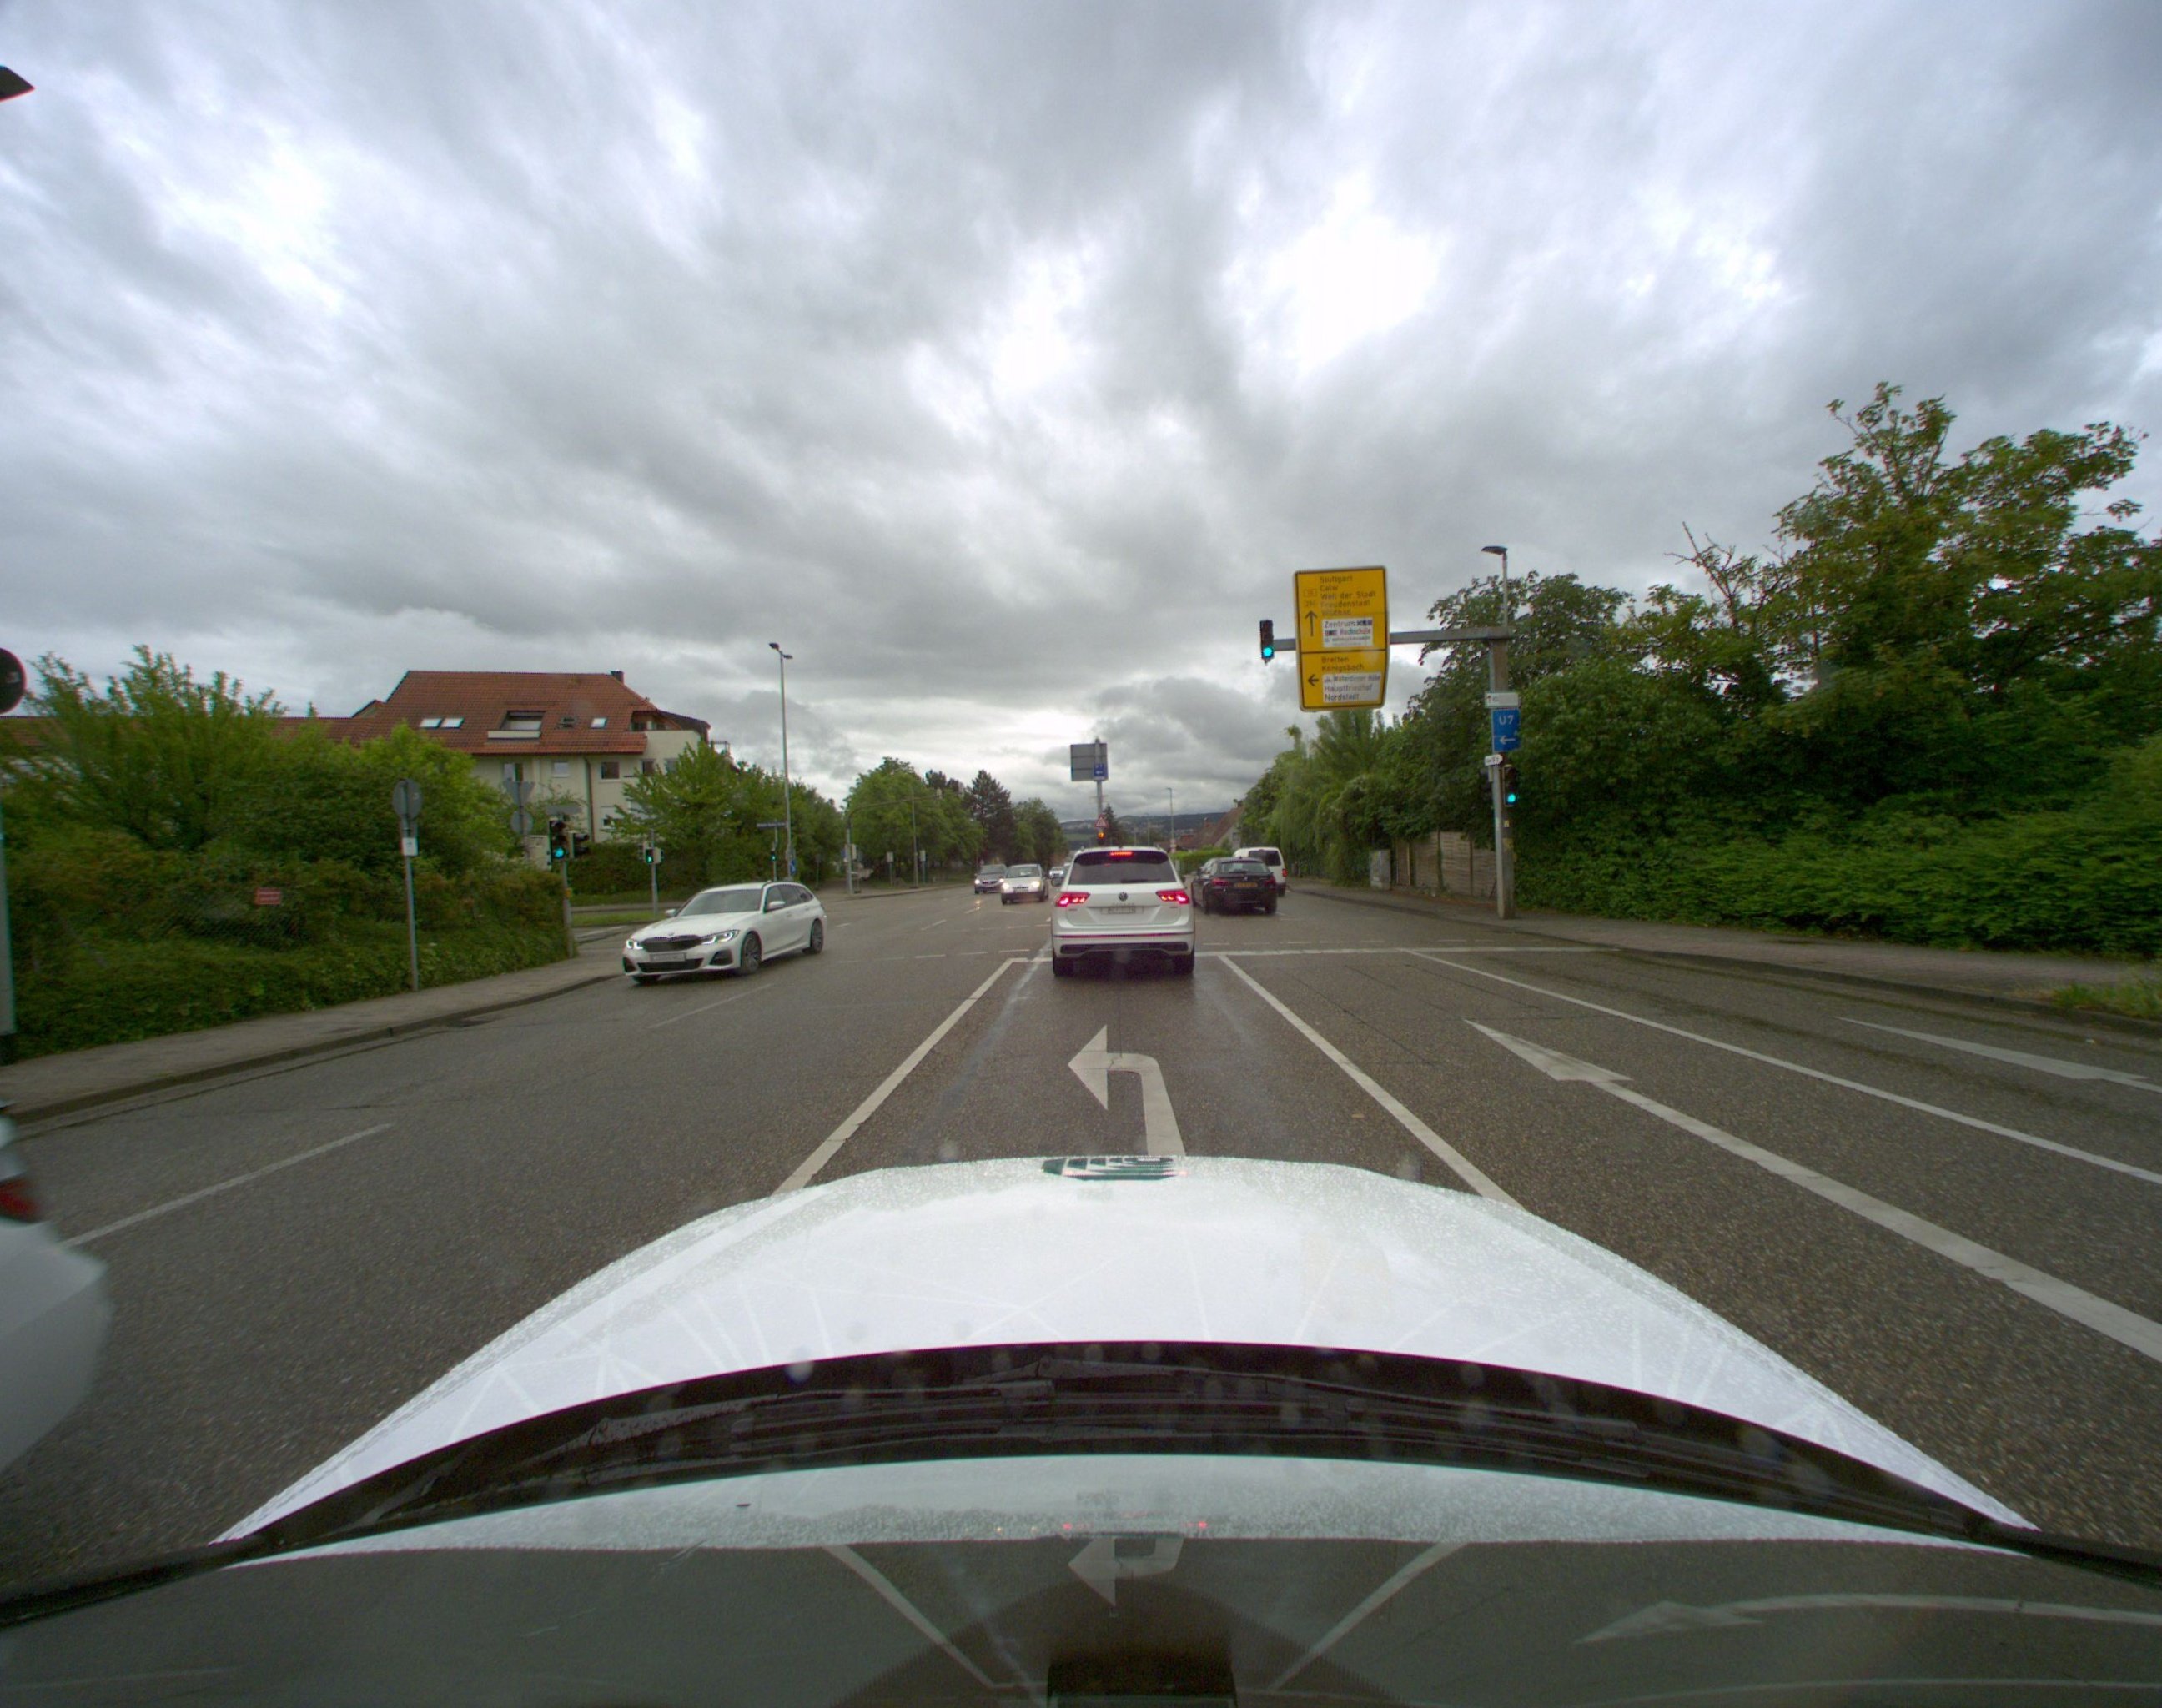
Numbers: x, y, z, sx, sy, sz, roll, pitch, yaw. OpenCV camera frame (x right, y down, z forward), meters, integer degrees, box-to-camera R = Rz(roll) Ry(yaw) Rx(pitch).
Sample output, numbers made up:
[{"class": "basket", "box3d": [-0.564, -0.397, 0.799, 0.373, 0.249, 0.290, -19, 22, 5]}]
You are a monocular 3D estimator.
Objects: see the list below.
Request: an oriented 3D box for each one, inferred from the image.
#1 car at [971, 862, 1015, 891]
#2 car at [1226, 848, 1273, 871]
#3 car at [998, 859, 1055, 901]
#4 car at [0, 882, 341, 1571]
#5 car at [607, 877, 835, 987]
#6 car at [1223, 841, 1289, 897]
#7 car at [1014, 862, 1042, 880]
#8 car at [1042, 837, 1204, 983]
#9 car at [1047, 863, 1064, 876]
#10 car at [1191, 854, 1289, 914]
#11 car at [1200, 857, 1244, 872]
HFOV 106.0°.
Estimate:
[{"class": "car", "box3d": [-4.920, 1.243, 46.093, 1.768, 1.458, 4.551, -3, 0, 2]}, {"class": "car", "box3d": [14.844, 0.468, 71.895, 3.968, 1.956, 1.587, -1, 0, 5]}, {"class": "car", "box3d": [-2.081, 0.969, 32.319, 1.768, 1.458, 4.551, -3, 0, 2]}, {"class": "car", "box3d": [-3.193, 0.842, 0.220, 1.742, 1.385, 4.414, -4, 0, 2]}, {"class": "car", "box3d": [-5.925, 1.199, 14.132, 1.768, 1.385, 4.551, -3, 0, 1]}, {"class": "car", "box3d": [6.630, 0.495, 31.185, 1.758, 1.877, 3.807, -1, 2, 1]}, {"class": "car", "box3d": [-4.179, 1.360, 64.727, 1.643, 1.273, 3.624, -2, 0, 4]}, {"class": "car", "box3d": [0.551, 0.668, 11.562, 1.862, 1.673, 4.001, -1, 0, 2]}, {"class": "car", "box3d": [-3.060, 1.866, 99.827, 1.768, 1.458, 4.188, -3, 0, 2]}, {"class": "car", "box3d": [4.177, 0.807, 22.011, 1.892, 1.442, 4.000, -1, -2, 1]}, {"class": "car", "box3d": [13.303, 0.992, 76.807, 3.968, 1.376, 1.587, -1, 0, 5]}]
